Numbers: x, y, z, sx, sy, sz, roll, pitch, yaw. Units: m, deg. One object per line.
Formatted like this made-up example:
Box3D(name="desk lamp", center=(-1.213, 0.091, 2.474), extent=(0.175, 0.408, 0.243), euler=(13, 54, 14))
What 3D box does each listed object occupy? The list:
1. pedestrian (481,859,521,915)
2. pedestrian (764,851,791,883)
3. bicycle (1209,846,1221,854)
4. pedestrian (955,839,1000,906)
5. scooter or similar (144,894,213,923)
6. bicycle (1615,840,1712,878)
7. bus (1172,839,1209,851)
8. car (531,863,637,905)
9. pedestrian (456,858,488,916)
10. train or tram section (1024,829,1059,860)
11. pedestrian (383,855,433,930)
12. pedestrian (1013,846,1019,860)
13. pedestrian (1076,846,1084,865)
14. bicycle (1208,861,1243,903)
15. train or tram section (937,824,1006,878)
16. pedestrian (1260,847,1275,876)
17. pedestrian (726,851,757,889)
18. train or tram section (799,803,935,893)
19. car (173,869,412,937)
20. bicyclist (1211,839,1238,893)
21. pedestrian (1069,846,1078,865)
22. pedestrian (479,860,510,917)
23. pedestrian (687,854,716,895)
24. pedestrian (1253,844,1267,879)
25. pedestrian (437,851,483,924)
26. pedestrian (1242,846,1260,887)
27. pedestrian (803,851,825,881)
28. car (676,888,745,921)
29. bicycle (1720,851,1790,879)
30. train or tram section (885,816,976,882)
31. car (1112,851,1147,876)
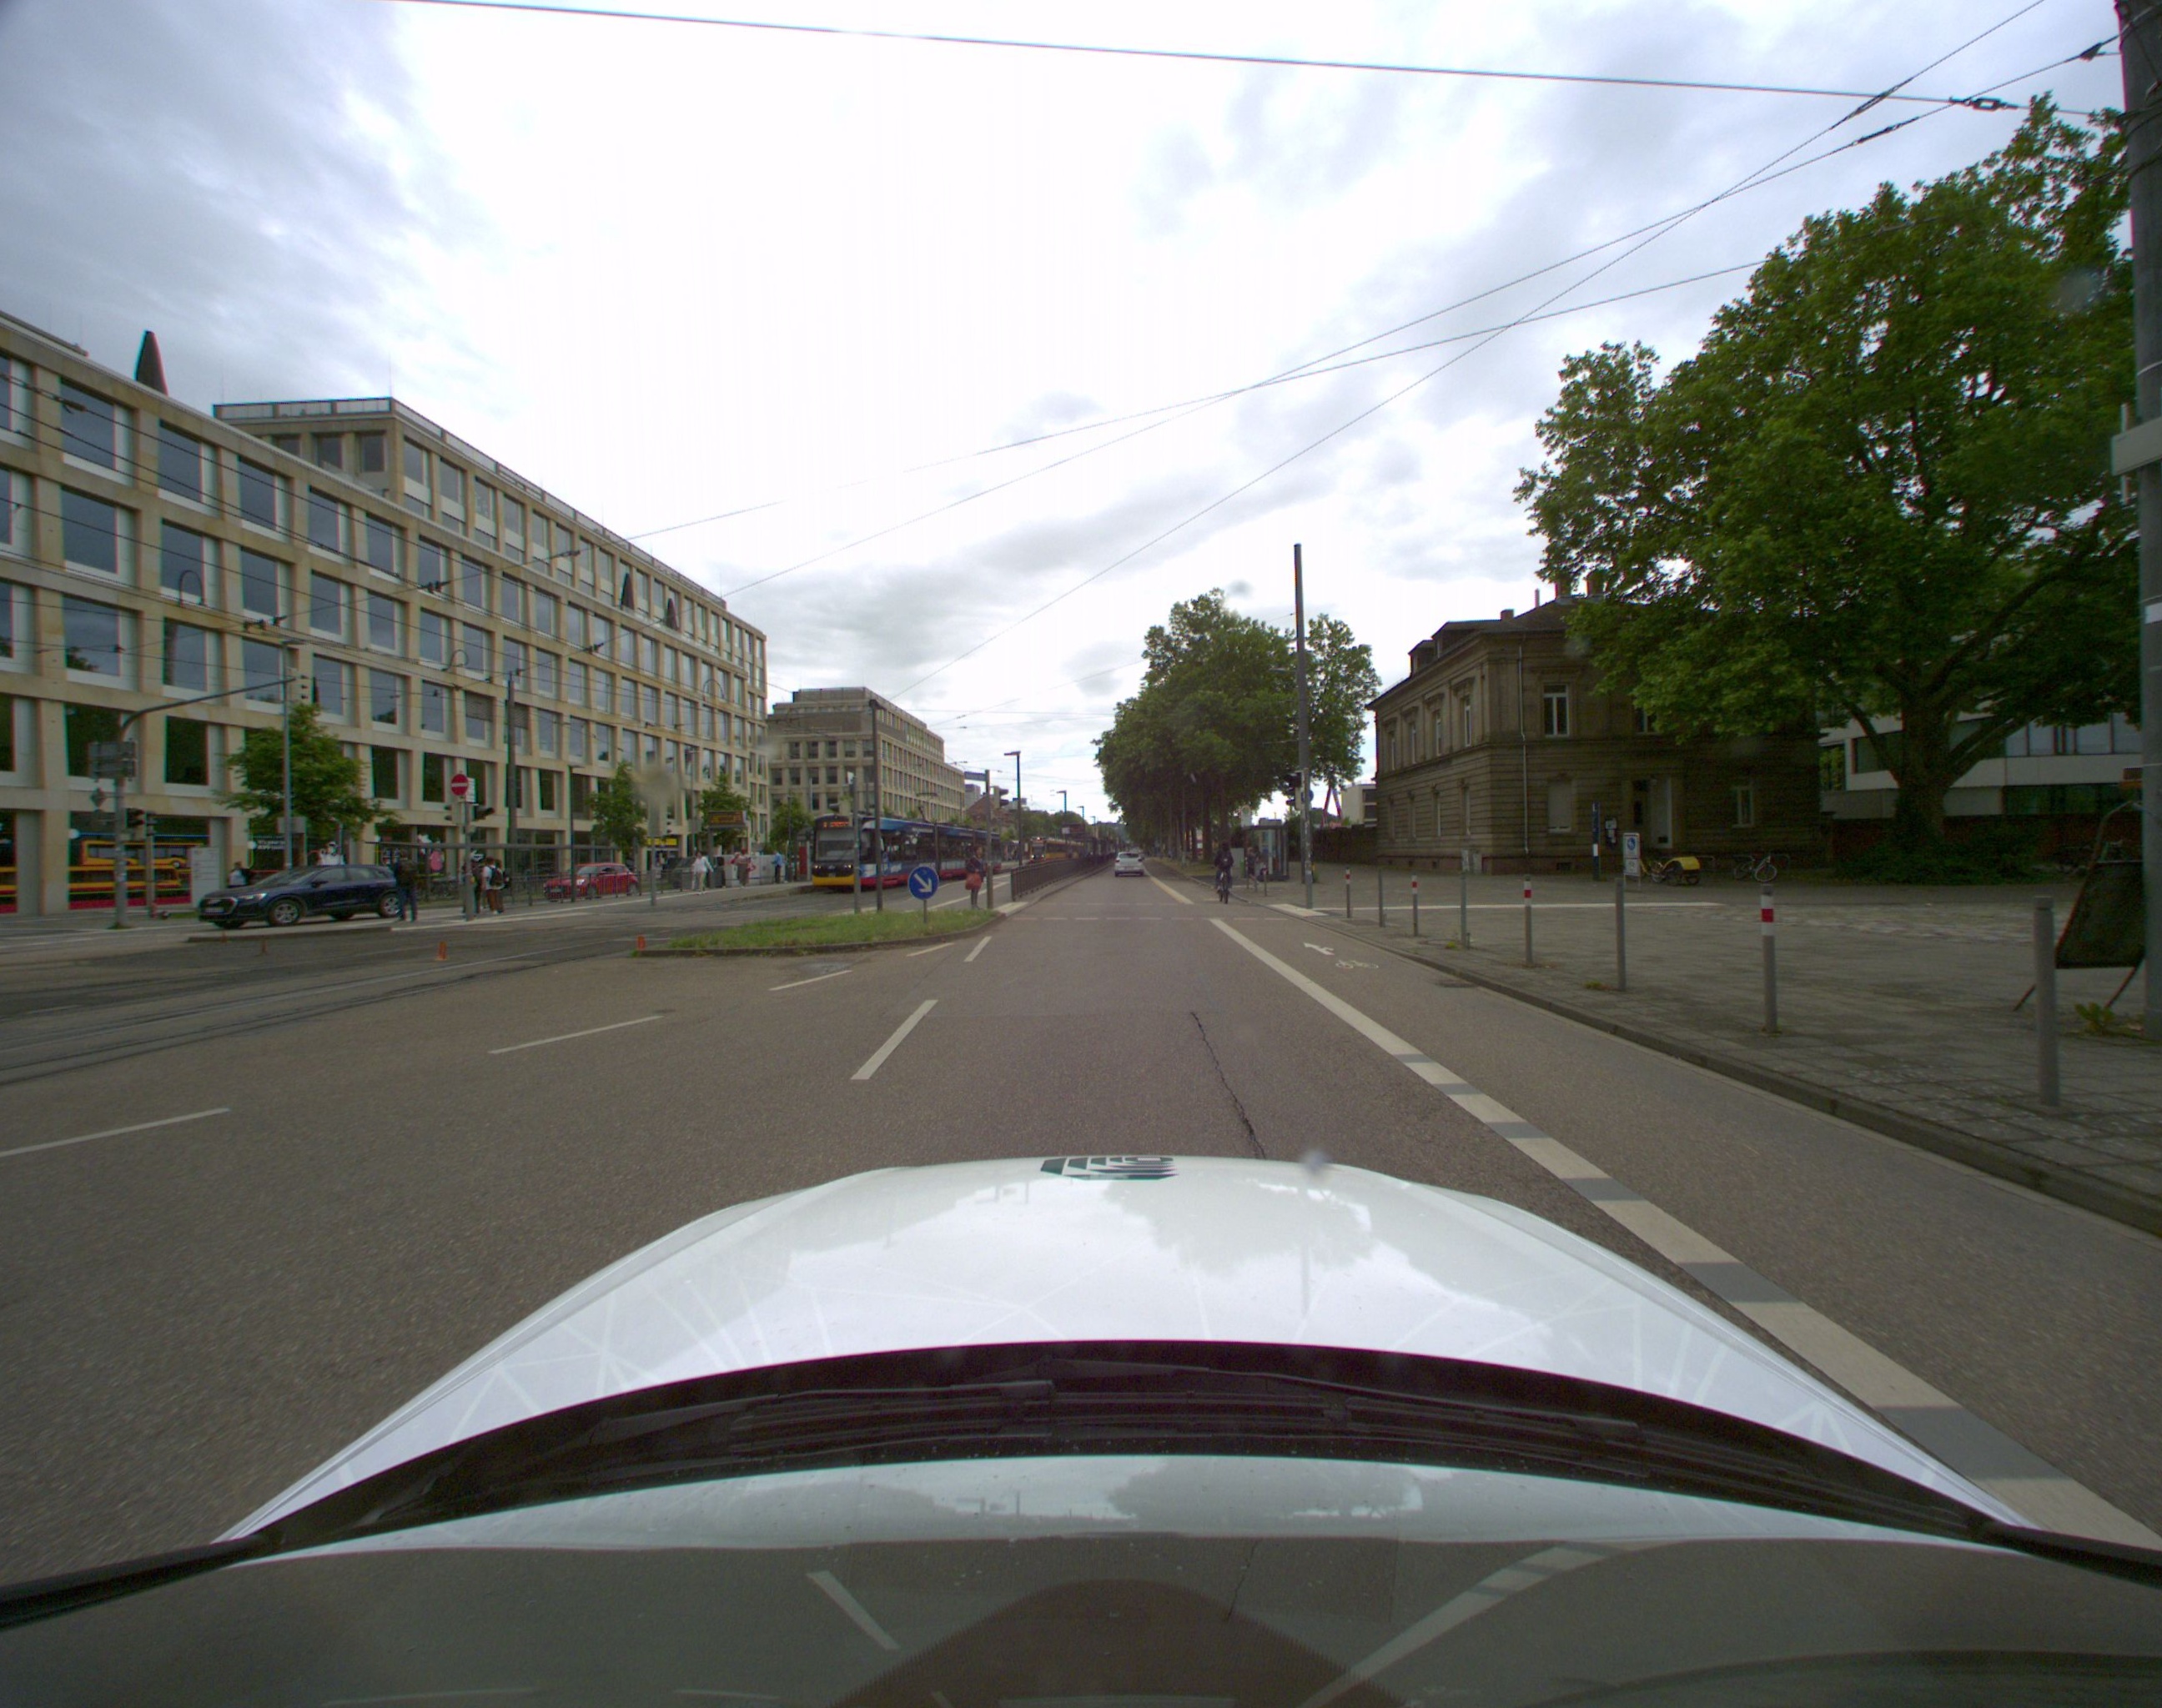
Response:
Box3D(name="pedestrian", center=(-17.134, 0.952, 24.073), extent=(0.715, 1.598, 0.705), euler=(-2, -1, -13))
Box3D(name="pedestrian", center=(-15.095, 0.640, 40.564), extent=(0.839, 1.585, 0.915), euler=(-2, -1, 17))
Box3D(name="bicycle", center=(21.593, -0.623, 131.137), extent=(1.882, 1.105, 0.550), euler=(-3, -1, 2))
Box3D(name="pedestrian", center=(-2.581, 0.451, 20.311), extent=(0.865, 1.643, 0.645), euler=(-1, -1, -38))
Box3D(name="scooter or similar", center=(-27.980, 1.693, 25.260), extent=(1.476, 0.849, 0.695), euler=(-1, 0, 6))
Box3D(name="bicycle", center=(19.268, 0.140, 27.070), extent=(0.897, 1.068, 3.409), euler=(-2, 2, 2))
Box3D(name="bus", center=(28.159, -2.290, 209.238), extent=(9.243, 2.960, 2.001), euler=(-2, -1, 1))
Box3D(name="car", center=(-19.577, 1.131, 32.258), extent=(1.732, 1.449, 3.771), euler=(-2, 0, 2))
Box3D(name="pedestrian", center=(-17.097, 0.916, 22.861), extent=(0.707, 1.598, 0.528), euler=(-2, -1, 38))
Box3D(name="train or tram section", center=(-5.261, -1.172, 110.281), extent=(3.223, 3.862, 11.324), euler=(-2, 0, 4))
Box3D(name="pedestrian", center=(-17.433, 0.981, 21.115), extent=(0.858, 1.868, 0.740), euler=(-1, -1, -31))
Box3D(name="pedestrian", center=(-8.728, -0.093, 109.219), extent=(0.708, 1.795, 1.161), euler=(-2, -1, 3))
Box3D(name="pedestrian", center=(-0.090, 0.128, 79.112), extent=(0.669, 1.793, 1.111), euler=(-2, -1, -5))
Box3D(name="bicycle", center=(4.161, 0.780, 23.607), extent=(0.650, 1.150, 2.284), euler=(-2, 0, 2))
Box3D(name="train or tram section", center=(-8.306, -0.152, 63.905), extent=(2.843, 3.692, 13.531), euler=(-2, 0, 3))
Box3D(name="pedestrian", center=(8.154, 0.330, 35.675), extent=(0.474, 1.234, 0.703), euler=(-2, -1, 3))
Box3D(name="pedestrian", center=(-14.452, 0.683, 34.702), extent=(0.904, 1.585, 0.848), euler=(-2, -1, 2))
Box3D(name="train or tram section", center=(-9.920, -0.223, 39.653), extent=(2.843, 3.640, 11.774), euler=(-2, 0, 3))
Box3D(name="car", center=(-20.865, 1.225, 21.855), extent=(1.728, 1.494, 4.379), euler=(-2, 0, 10))
Box3D(name="bicyclist", center=(4.168, 0.341, 23.750), extent=(0.638, 1.531, 0.665), euler=(-2, -1, 2))
Box3D(name="pedestrian", center=(-0.745, 0.165, 78.354), extent=(0.670, 1.793, 1.109), euler=(-2, -1, -9))
Box3D(name="pedestrian", center=(-16.777, 0.975, 23.303), extent=(0.707, 1.598, 0.528), euler=(-2, -1, 38))
Box3D(name="pedestrian", center=(-14.734, 0.789, 31.662), extent=(0.705, 1.585, 0.766), euler=(-2, -1, 2))
Box3D(name="pedestrian", center=(8.099, 0.336, 36.923), extent=(0.474, 1.563, 0.703), euler=(-2, -1, 3))
Box3D(name="pedestrian", center=(-16.534, 0.878, 21.707), extent=(0.858, 1.868, 0.740), euler=(-1, -1, -31))
Box3D(name="pedestrian", center=(6.374, 0.465, 30.519), extent=(0.547, 1.528, 0.642), euler=(-2, -1, 21))
Box3D(name="pedestrian", center=(-14.219, 0.632, 43.431), extent=(0.843, 1.585, 0.910), euler=(-2, -1, -1))
Box3D(name="car", center=(-19.465, 2.617, 42.934), extent=(1.732, 1.449, 3.771), euler=(-2, 0, 2))
Box3D(name="bicycle", center=(22.033, 0.347, 26.679), extent=(0.607, 0.872, 2.083), euler=(-2, 0, 2))
Box3D(name="train or tram section", center=(-9.144, -0.245, 51.290), extent=(2.843, 3.640, 11.709), euler=(-2, 0, 3))
Box3D(name="car", center=(3.050, 0.580, 50.513), extent=(1.875, 1.453, 4.008), euler=(-2, 0, 7))
